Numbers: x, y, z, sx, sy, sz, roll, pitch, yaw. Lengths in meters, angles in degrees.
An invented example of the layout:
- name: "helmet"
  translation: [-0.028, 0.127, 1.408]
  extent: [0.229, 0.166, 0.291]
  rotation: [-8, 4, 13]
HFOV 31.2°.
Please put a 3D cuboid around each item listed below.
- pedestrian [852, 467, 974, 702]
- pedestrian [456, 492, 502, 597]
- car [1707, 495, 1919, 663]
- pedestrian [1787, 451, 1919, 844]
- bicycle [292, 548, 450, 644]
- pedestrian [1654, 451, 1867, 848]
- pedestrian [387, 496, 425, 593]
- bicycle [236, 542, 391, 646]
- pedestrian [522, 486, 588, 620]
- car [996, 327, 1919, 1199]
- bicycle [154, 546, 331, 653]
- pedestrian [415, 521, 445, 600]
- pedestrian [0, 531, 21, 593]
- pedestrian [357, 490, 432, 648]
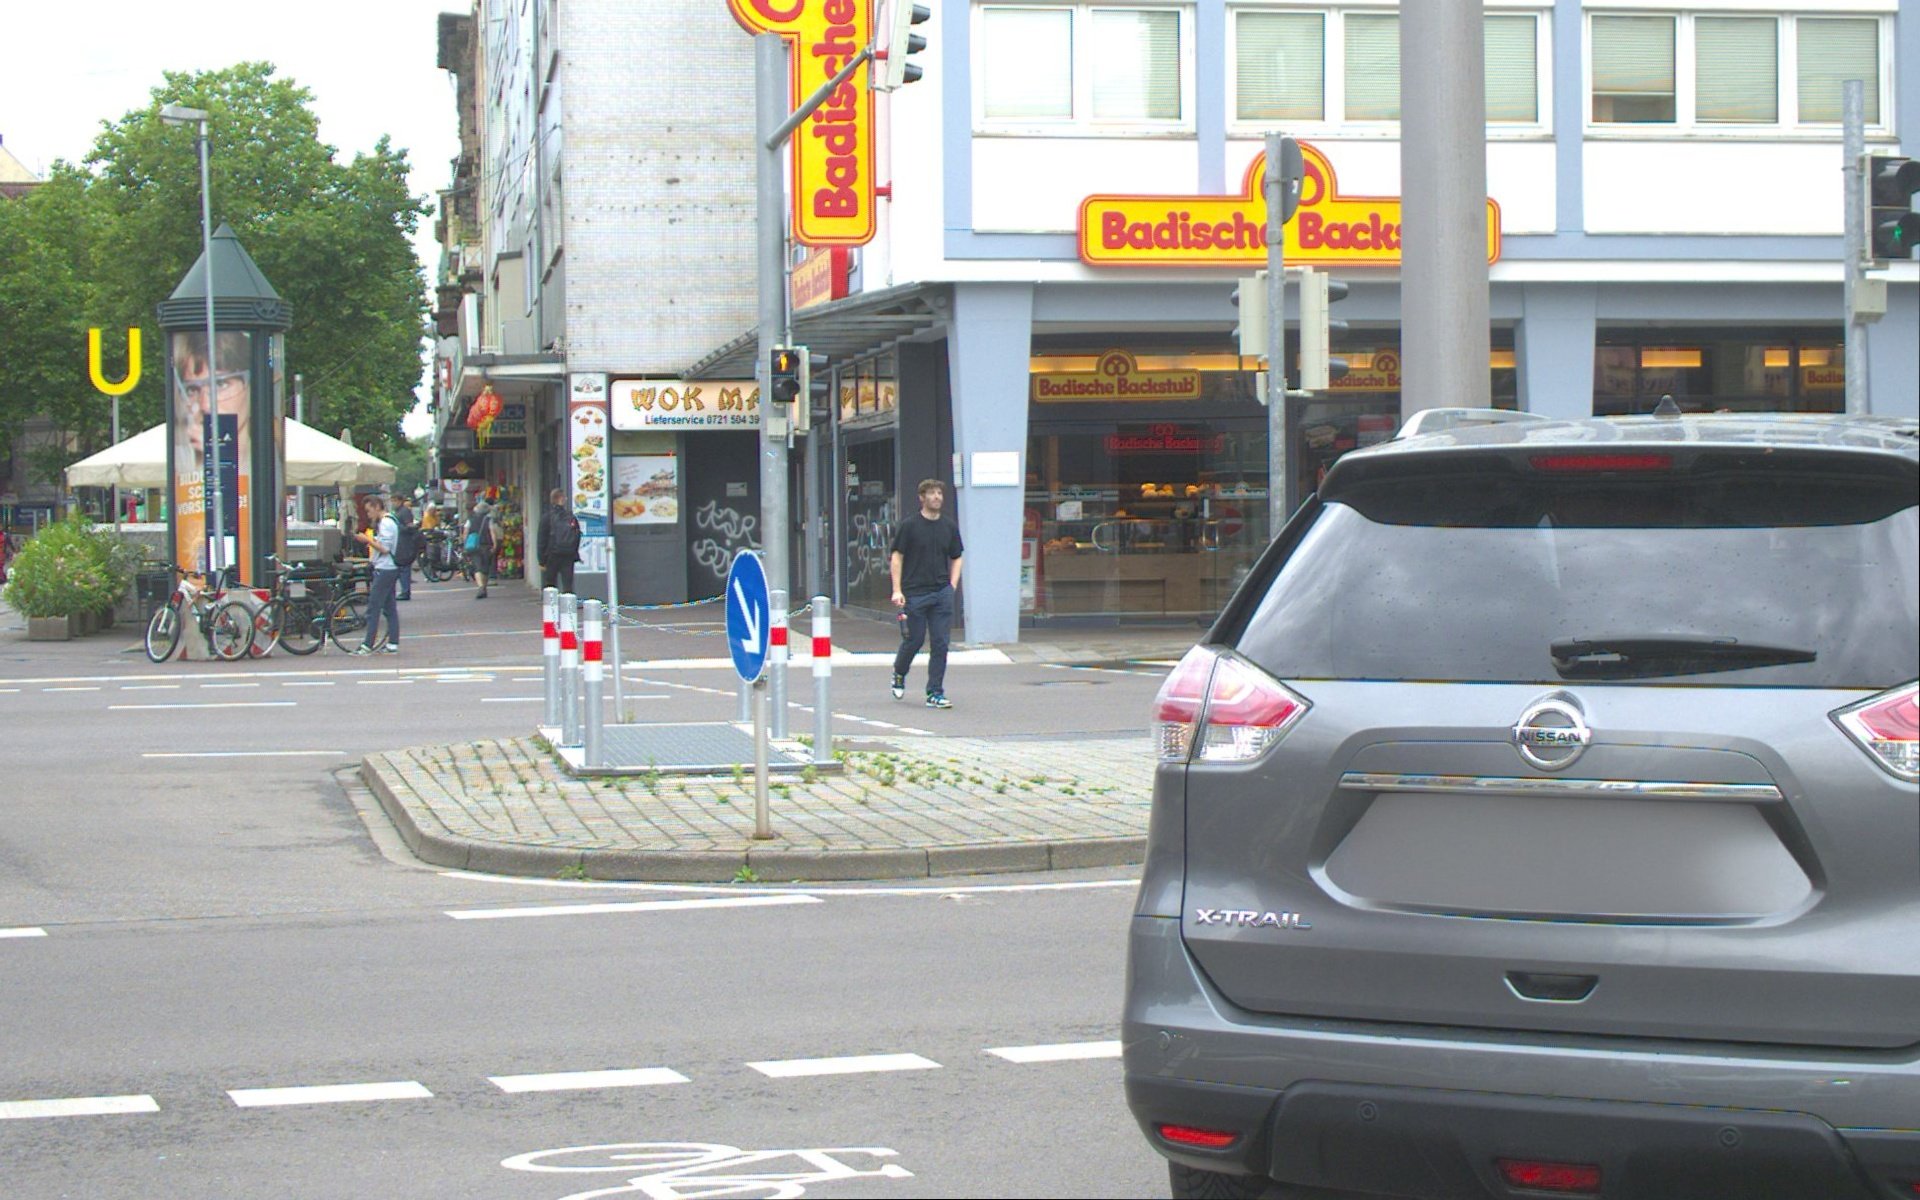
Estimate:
- name: "pedestrian"
  translation: [-0.379, -0.131, 27.369]
  extent: [0.712, 1.826, 1.017]
  rotation: [0, 1, -16]
- name: "pedestrian"
  translation: [-8.361, -0.970, 59.716]
  extent: [0.737, 1.815, 0.662]
  rotation: [-1, 1, -11]
- name: "car"
  translation: [9.463, -0.249, 32.030]
  extent: [4.550, 1.476, 1.749]
  rotation: [-2, 1, -11]
- name: "pedestrian"
  translation: [4.296, 0.205, 15.829]
  extent: [0.621, 1.755, 0.780]
  rotation: [0, 1, -16]
- name: "bicycle"
  translation: [-6.590, -0.047, 38.518]
  extent: [1.695, 1.062, 0.437]
  rotation: [0, 1, -2]
- name: "pedestrian"
  translation: [3.635, 0.209, 15.658]
  extent: [0.621, 1.755, 0.780]
  rotation: [0, 1, -16]
- name: "pedestrian"
  translation: [-9.805, -0.983, 60.891]
  extent: [0.643, 1.699, 0.559]
  rotation: [0, 1, -8]
- name: "bicycle"
  translation: [-7.339, -0.066, 39.050]
  extent: [1.695, 1.167, 0.437]
  rotation: [0, 1, -15]
- name: "pedestrian"
  translation: [-5.203, -0.606, 44.181]
  extent: [0.710, 1.699, 0.734]
  rotation: [1, 1, 4]
- name: "car"
  translation: [1.859, 0.432, 7.429]
  extent: [1.865, 1.768, 4.561]
  rotation: [1, 1, 25]
- name: "bicycle"
  translation: [-7.980, -0.011, 38.250]
  extent: [1.867, 1.167, 0.531]
  rotation: [0, 1, -23]
- name: "pedestrian"
  translation: [-11.392, -0.851, 73.917]
  extent: [0.611, 1.699, 0.620]
  rotation: [0, 1, -8]
- name: "pedestrian"
  translation: [-26.323, -1.058, 95.196]
  extent: [0.600, 1.708, 0.656]
  rotation: [0, 1, -16]
- name: "pedestrian"
  translation: [-6.282, -0.347, 38.194]
  extent: [0.732, 1.739, 0.663]
  rotation: [0, 1, -17]
